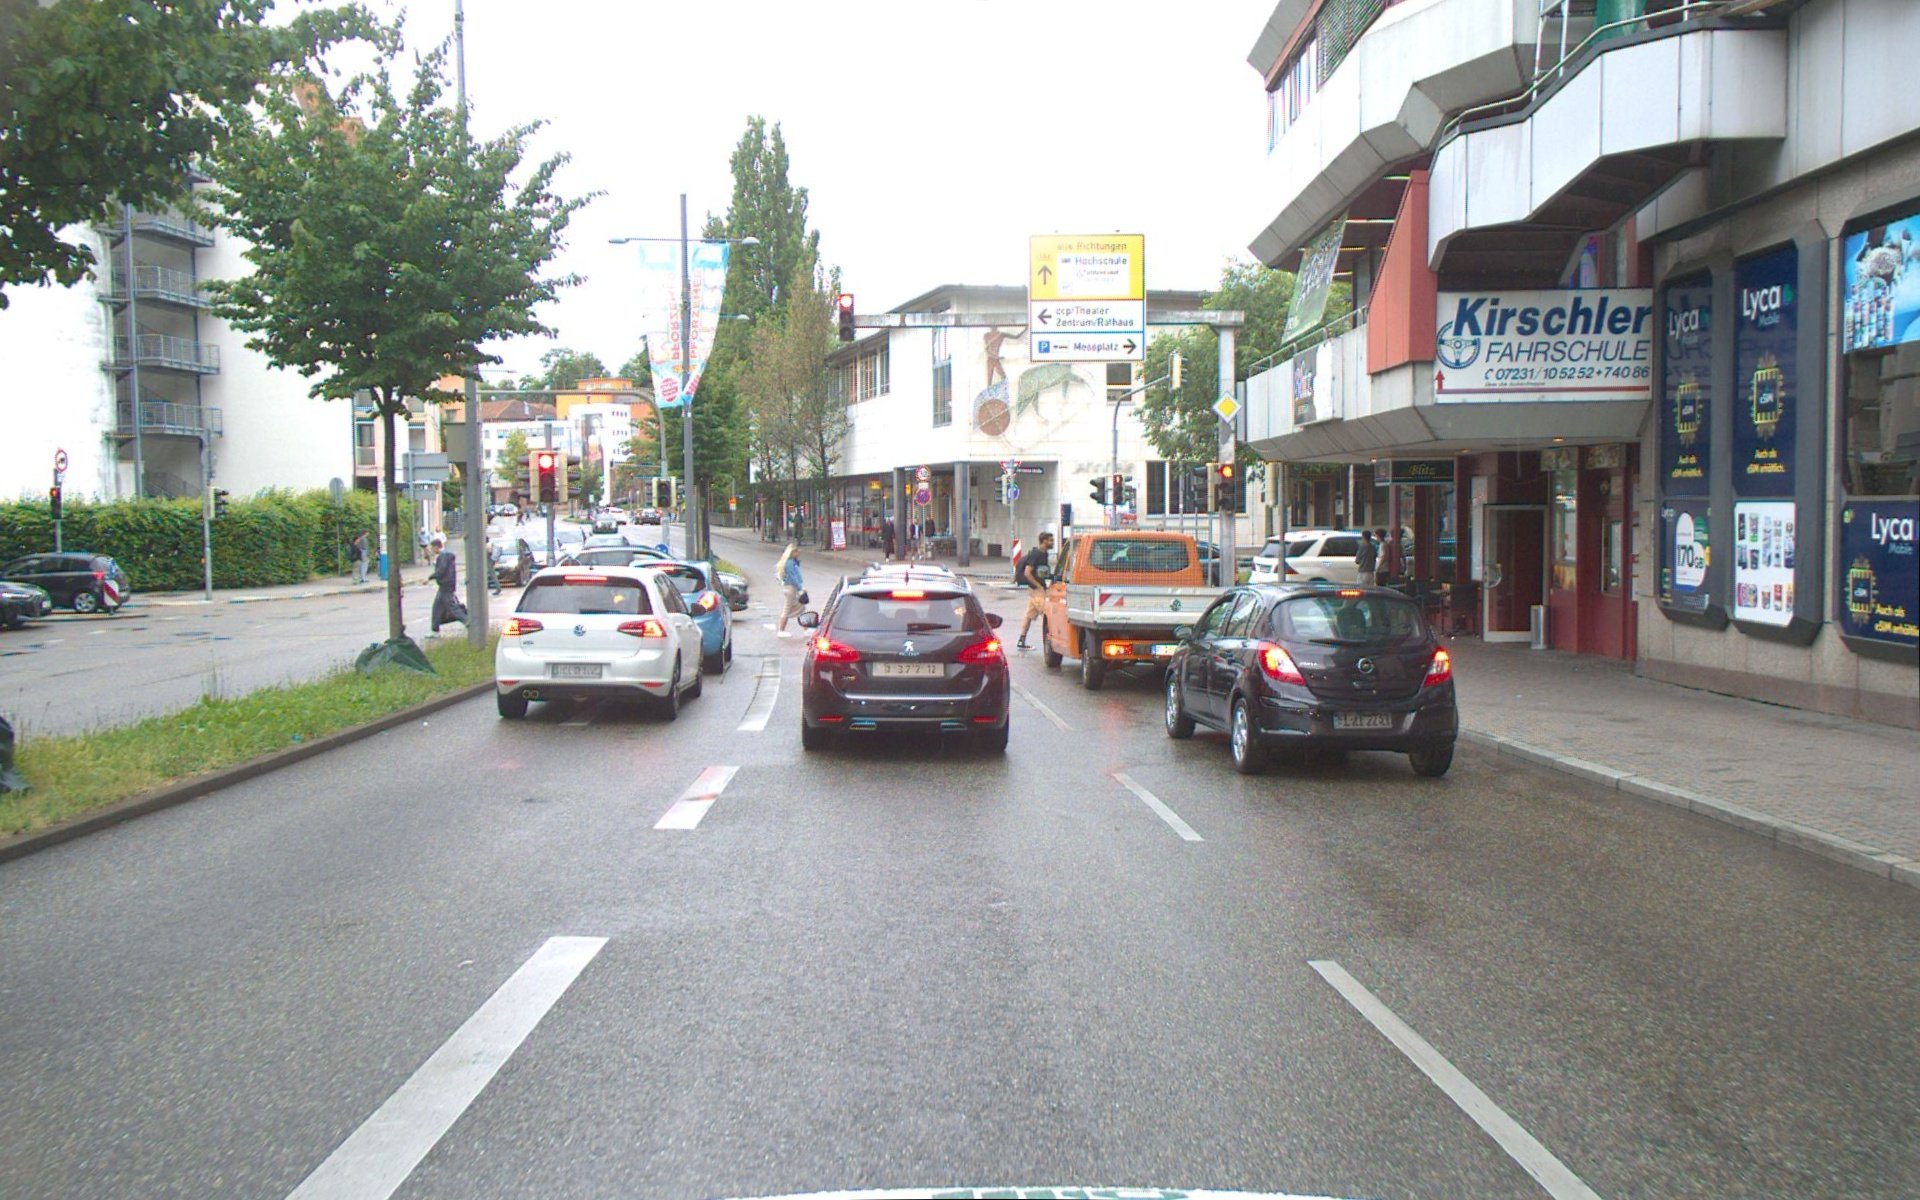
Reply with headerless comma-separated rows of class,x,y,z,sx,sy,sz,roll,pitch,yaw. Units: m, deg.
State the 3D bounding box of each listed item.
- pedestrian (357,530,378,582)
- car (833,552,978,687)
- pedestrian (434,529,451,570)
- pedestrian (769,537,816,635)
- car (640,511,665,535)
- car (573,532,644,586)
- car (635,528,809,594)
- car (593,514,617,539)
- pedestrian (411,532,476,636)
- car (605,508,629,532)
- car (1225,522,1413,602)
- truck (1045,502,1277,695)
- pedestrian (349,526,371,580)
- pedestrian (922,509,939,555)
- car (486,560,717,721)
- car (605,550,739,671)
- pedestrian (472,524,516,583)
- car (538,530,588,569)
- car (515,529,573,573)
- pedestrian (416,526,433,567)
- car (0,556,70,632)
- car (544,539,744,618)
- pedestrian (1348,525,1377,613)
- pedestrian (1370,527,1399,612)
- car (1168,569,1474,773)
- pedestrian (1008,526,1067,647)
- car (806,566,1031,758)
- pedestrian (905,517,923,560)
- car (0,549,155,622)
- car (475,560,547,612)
pedestrian,-20.382,-1.506,56.900,0.528,1.778,0.564,1,-1,-6
car,-0.688,0.168,21.096,1.662,1.511,3.793,1,2,-2
pedestrian,-22.627,-2.213,72.263,0.585,1.758,0.655,1,-1,-10
pedestrian,-2.991,-0.246,29.586,0.733,1.709,0.709,1,-1,1
car,-28.372,-7.056,152.506,1.680,1.970,3.979,1,0,-18
car,-11.323,-1.306,53.542,1.710,1.607,3.996,1,0,-5
car,-6.014,-0.958,42.340,1.695,1.516,4.718,1,0,33
car,-26.950,-5.569,125.561,1.713,1.668,3.988,1,0,-12
pedestrian,-9.220,-0.283,29.543,0.904,1.815,0.709,1,-1,2
car,-31.287,-7.267,150.916,1.680,1.915,3.979,1,0,-18
car,8.371,-0.856,38.626,3.922,1.732,1.820,1,0,-16
truck,2.480,-0.106,21.819,2.134,2.210,5.018,1,2,-4
pedestrian,-20.116,-1.578,55.483,0.529,1.778,0.745,1,-1,-10
pedestrian,-1.272,-2.893,70.651,0.623,1.930,0.734,1,-1,5
car,-3.617,0.332,17.309,1.742,1.454,3.840,1,2,-3
car,-3.974,0.089,23.246,1.601,1.511,3.605,1,2,-6
pedestrian,-13.038,-1.284,46.282,1.041,1.606,0.683,1,-1,-6
car,-16.006,-2.040,66.803,1.602,1.511,3.604,1,2,-8
car,-14.963,-1.777,59.641,1.602,1.511,3.604,1,2,-8
pedestrian,-23.238,-2.331,71.761,0.585,1.758,0.655,1,-1,-10
car,-21.427,-0.049,34.727,4.416,1.479,1.787,-3,4,-14
car,-6.493,-0.422,34.044,3.918,1.512,1.618,1,0,-13
pedestrian,7.900,-0.608,32.475,0.417,1.712,0.450,-1,-1,-3
pedestrian,8.429,-0.603,32.850,0.388,1.668,0.504,-1,-1,-1
car,2.918,0.495,14.161,1.584,1.454,3.840,1,2,-3
pedestrian,1.246,-0.212,26.801,0.904,1.910,0.709,1,-1,1
car,-0.434,0.455,14.905,1.742,1.454,3.840,1,2,-4
pedestrian,-1.959,-2.604,70.369,0.623,1.788,0.734,1,-1,5
car,-21.171,-0.316,38.032,4.416,1.479,1.787,-3,4,-14
car,-14.203,-0.482,52.502,1.543,1.511,3.607,1,2,-5
